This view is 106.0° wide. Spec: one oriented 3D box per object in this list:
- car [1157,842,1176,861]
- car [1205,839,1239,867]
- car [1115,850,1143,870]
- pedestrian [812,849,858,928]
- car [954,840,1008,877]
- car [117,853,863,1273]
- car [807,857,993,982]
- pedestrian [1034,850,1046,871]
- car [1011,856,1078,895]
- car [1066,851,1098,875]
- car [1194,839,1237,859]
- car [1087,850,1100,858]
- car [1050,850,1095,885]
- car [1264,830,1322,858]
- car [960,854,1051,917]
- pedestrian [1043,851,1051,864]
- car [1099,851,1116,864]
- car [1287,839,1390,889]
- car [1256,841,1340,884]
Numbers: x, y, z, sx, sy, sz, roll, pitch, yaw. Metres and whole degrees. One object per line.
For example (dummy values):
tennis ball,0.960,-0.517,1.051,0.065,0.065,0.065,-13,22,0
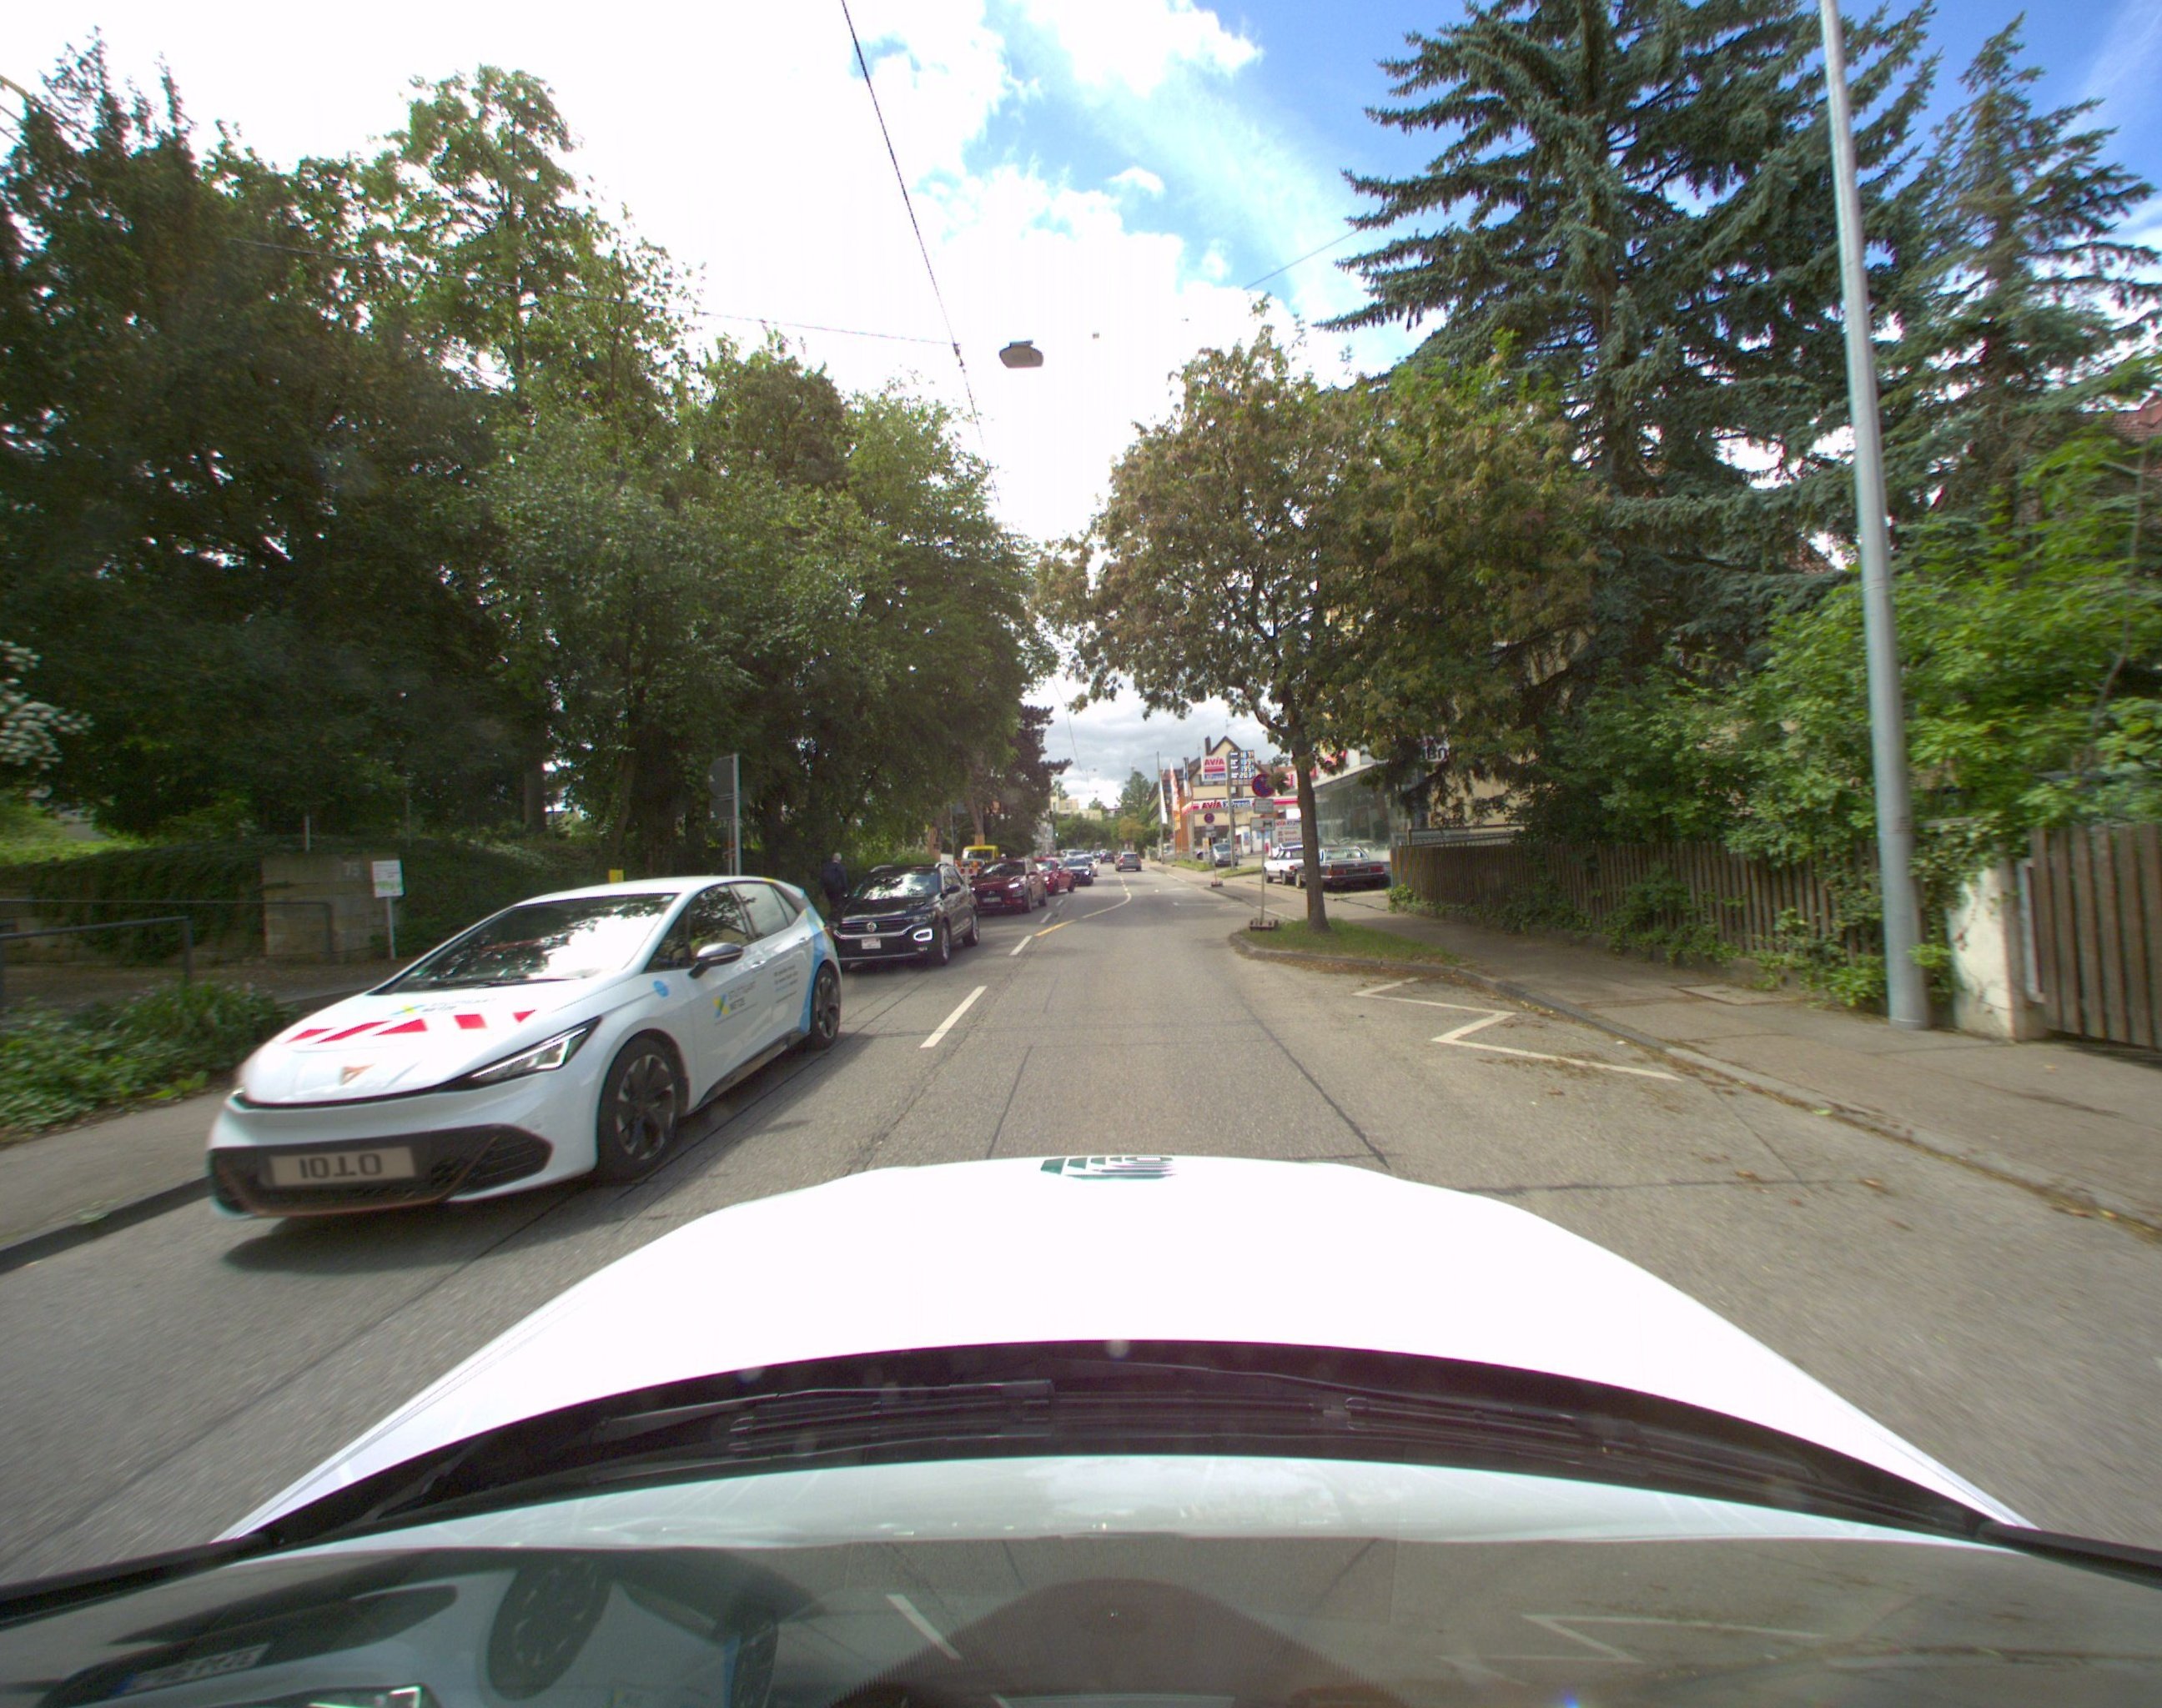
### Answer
car,9.768,-0.264,93.270,1.985,2.013,4.003,-3,-1,3
car,9.337,-0.111,54.174,1.776,1.634,3.697,-6,0,5
car,3.703,0.433,63.984,1.969,1.513,4.267,0,0,0
pedestrian,-5.738,0.786,19.045,0.712,1.762,1.120,-3,-1,-4
car,-5.853,0.262,48.334,2.136,1.981,4.936,-3,-1,4
car,-3.038,0.880,5.490,1.778,1.591,4.155,-5,0,2
car,-2.749,0.916,13.446,1.781,1.541,4.267,-4,0,3
pedestrian,-2.851,0.449,57.123,0.705,1.439,0.711,-3,-1,-10
car,-1.425,0.825,32.947,1.678,1.425,3.451,-3,-1,15
car,0.112,0.595,54.190,1.952,1.394,4.297,-3,0,1
car,12.958,-0.469,78.614,3.961,1.684,1.796,-3,-1,11
car,2.364,0.005,155.622,2.101,1.500,4.272,-3,0,4
car,-0.378,0.636,40.534,1.921,1.578,4.299,-3,0,3
car,11.371,-0.531,43.979,1.837,1.355,4.065,-3,0,-2
car,-2.126,0.855,24.082,1.753,1.533,4.103,-4,0,6
pedestrian,-3.915,0.386,93.860,0.701,1.439,0.715,-3,-1,5
car,3.241,0.418,100.110,1.810,1.500,4.266,-2,0,0
car,7.697,0.250,24.779,1.719,1.316,4.266,-3,0,-1
car,7.841,0.261,29.831,1.718,1.363,4.482,-3,0,-1
